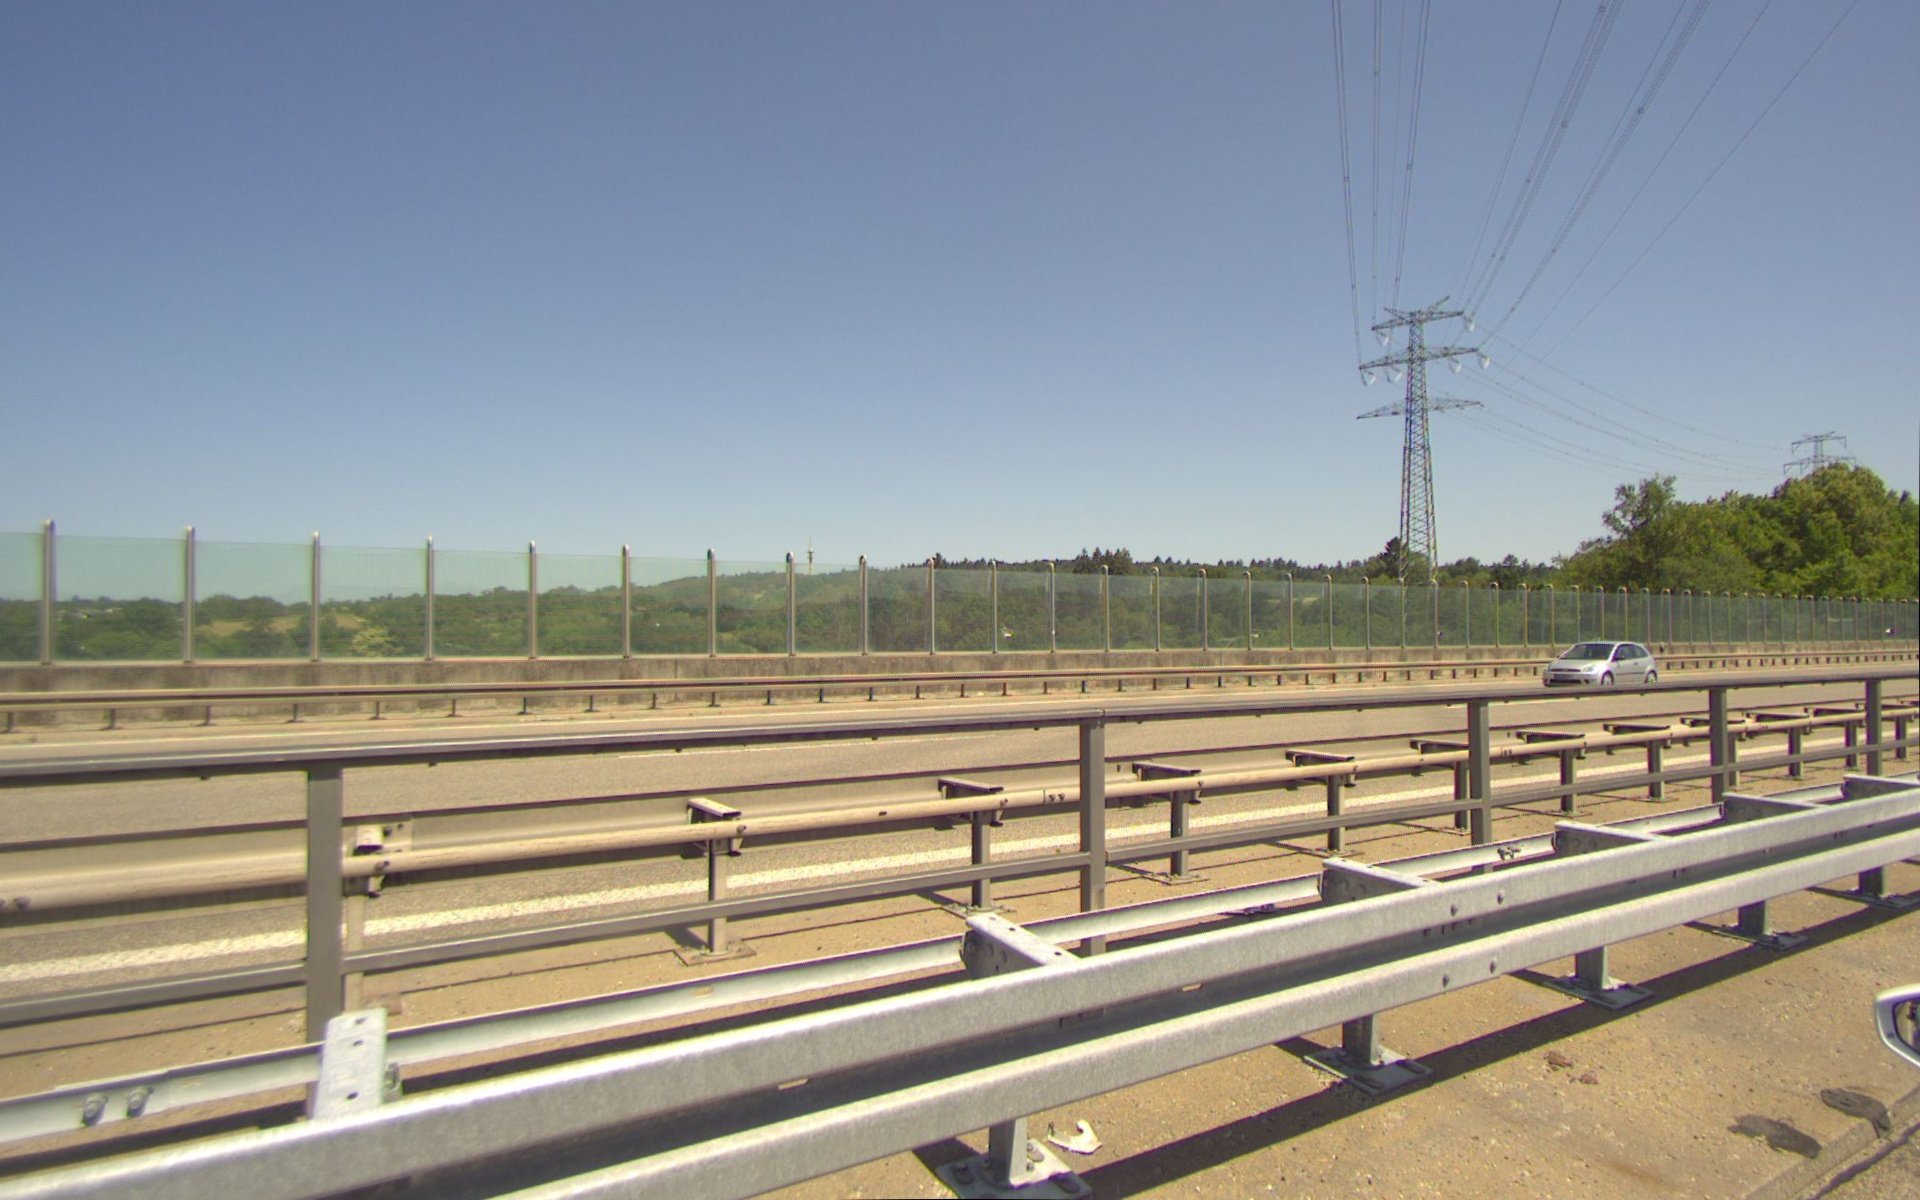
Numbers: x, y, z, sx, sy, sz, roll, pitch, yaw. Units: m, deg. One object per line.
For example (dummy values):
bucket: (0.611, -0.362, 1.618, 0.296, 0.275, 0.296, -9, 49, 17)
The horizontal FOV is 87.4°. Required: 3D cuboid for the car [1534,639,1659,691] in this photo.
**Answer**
car: (18.653, 1.871, 29.407, 3.633, 1.412, 1.597, 1, -3, -31)
